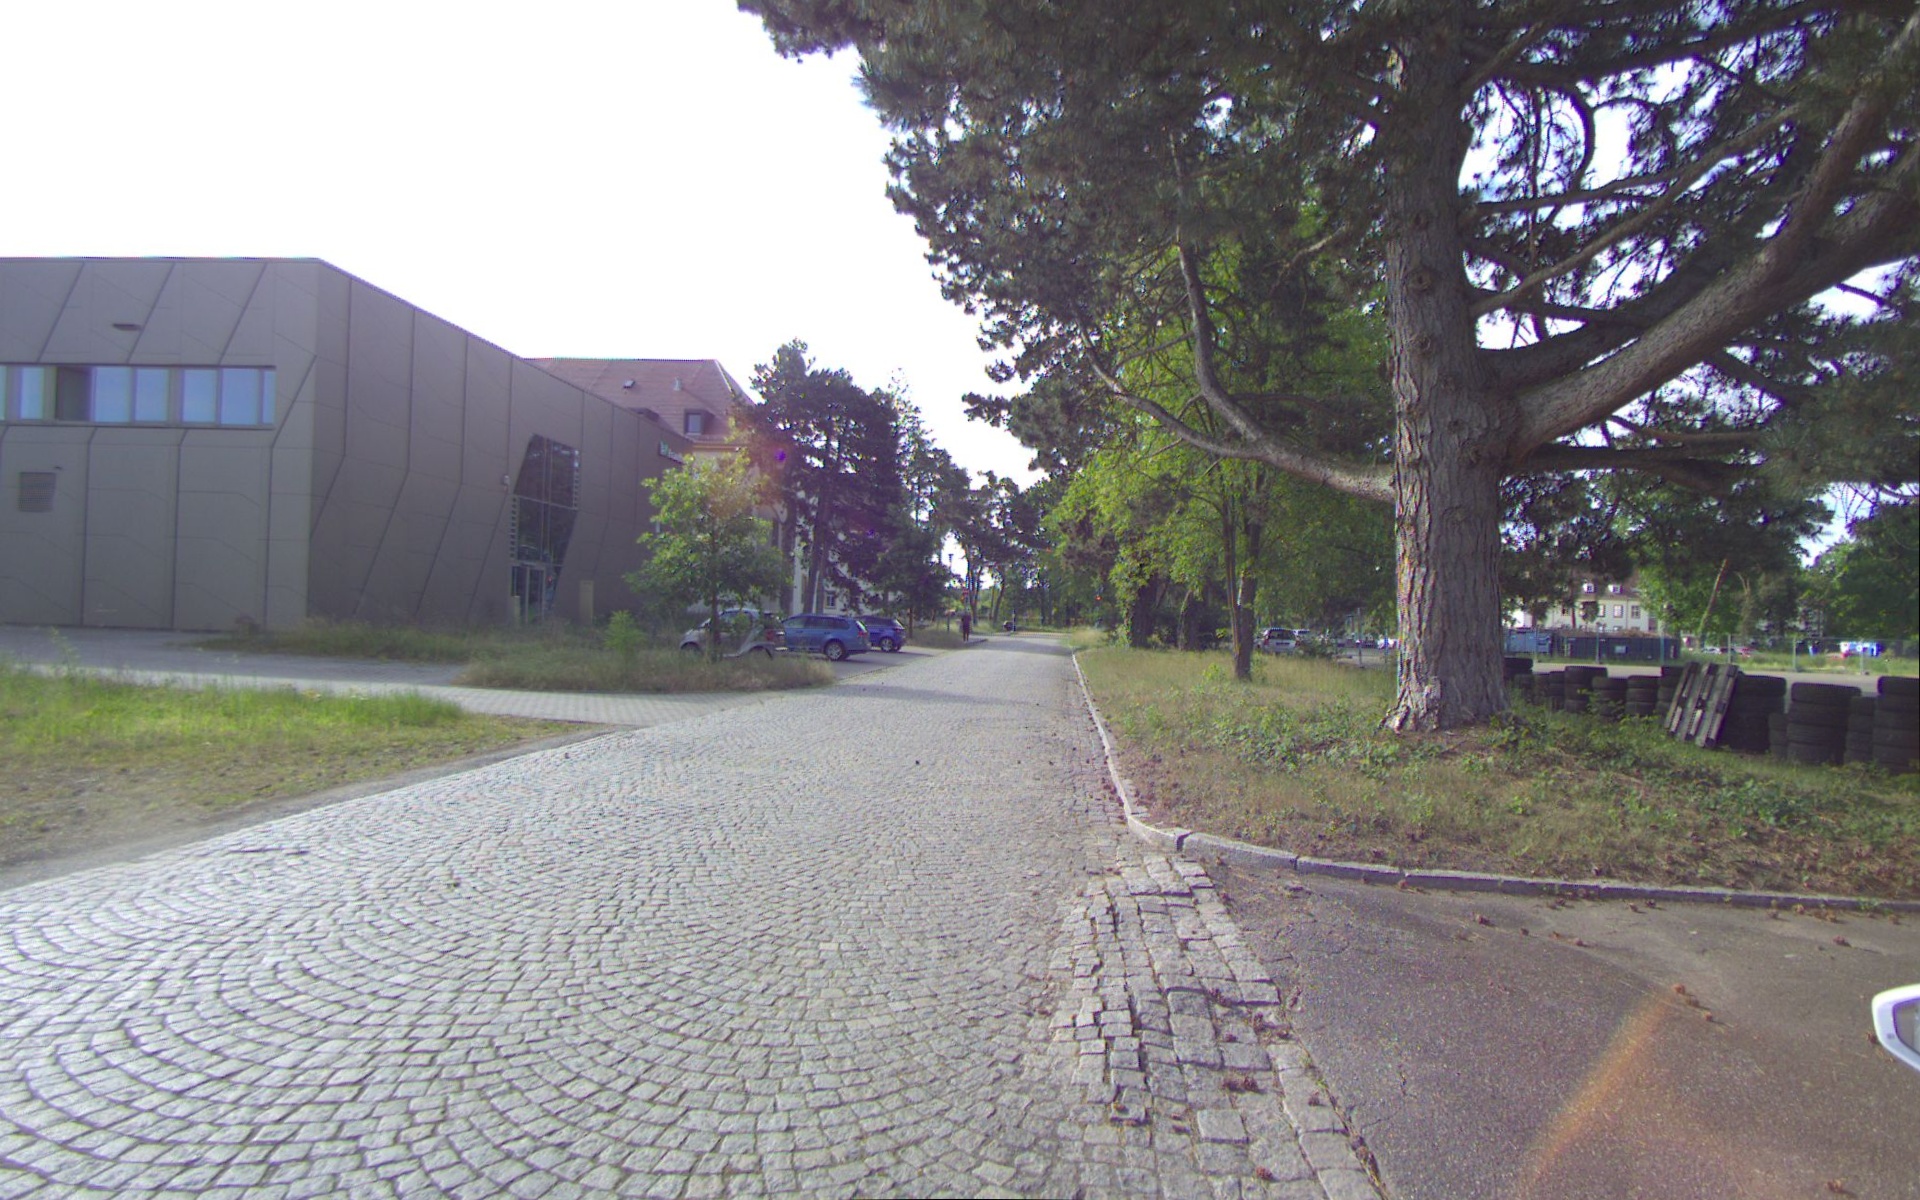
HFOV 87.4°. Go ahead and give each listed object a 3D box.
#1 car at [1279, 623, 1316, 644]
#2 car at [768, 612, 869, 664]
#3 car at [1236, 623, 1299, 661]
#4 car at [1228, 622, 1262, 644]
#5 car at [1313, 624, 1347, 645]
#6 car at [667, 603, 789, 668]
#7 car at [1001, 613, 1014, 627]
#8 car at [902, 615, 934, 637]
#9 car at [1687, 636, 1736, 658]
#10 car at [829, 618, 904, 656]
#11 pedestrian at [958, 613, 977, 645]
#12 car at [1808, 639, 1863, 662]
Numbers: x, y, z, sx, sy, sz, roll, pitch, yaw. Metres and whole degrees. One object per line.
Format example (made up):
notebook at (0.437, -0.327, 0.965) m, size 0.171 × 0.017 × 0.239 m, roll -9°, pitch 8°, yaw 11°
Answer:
car at (27.665, 2.750, 82.435) m, size 1.959 × 1.639 × 4.002 m, roll 2°, pitch -1°, yaw 6°
car at (-4.695, 1.265, 33.551) m, size 3.033 × 1.476 × 1.492 m, roll 4°, pitch -1°, yaw 1°
car at (14.059, 1.896, 46.157) m, size 1.854 × 1.561 × 4.002 m, roll 2°, pitch -1°, yaw 4°
car at (22.890, 2.609, 80.849) m, size 1.959 × 1.639 × 4.002 m, roll 2°, pitch -1°, yaw 6°
car at (30.327, 2.825, 82.420) m, size 1.790 × 1.639 × 4.003 m, roll 2°, pitch -1°, yaw 8°
car at (-6.057, 0.916, 26.334) m, size 2.713 × 1.570 × 1.426 m, roll 2°, pitch -1°, yaw 10°
car at (7.015, 2.954, 148.610) m, size 1.669 × 2.040 × 4.002 m, roll 2°, pitch -1°, yaw 6°
car at (-3.421, 2.115, 82.212) m, size 1.959 × 1.639 × 4.002 m, roll 2°, pitch -1°, yaw 6°
car at (67.424, 4.215, 90.175) m, size 1.959 × 1.773 × 4.003 m, roll 2°, pitch -1°, yaw 11°
car at (-3.970, 1.564, 42.839) m, size 3.033 × 1.469 × 1.492 m, roll 2°, pitch -1°, yaw 0°
pedestrian at (0.432, 1.757, 60.284) m, size 0.941 × 1.868 × 0.954 m, roll 2°, pitch -1°, yaw -8°
car at (77.434, 4.450, 88.926) m, size 1.959 × 1.773 × 4.003 m, roll 2°, pitch -1°, yaw 12°
